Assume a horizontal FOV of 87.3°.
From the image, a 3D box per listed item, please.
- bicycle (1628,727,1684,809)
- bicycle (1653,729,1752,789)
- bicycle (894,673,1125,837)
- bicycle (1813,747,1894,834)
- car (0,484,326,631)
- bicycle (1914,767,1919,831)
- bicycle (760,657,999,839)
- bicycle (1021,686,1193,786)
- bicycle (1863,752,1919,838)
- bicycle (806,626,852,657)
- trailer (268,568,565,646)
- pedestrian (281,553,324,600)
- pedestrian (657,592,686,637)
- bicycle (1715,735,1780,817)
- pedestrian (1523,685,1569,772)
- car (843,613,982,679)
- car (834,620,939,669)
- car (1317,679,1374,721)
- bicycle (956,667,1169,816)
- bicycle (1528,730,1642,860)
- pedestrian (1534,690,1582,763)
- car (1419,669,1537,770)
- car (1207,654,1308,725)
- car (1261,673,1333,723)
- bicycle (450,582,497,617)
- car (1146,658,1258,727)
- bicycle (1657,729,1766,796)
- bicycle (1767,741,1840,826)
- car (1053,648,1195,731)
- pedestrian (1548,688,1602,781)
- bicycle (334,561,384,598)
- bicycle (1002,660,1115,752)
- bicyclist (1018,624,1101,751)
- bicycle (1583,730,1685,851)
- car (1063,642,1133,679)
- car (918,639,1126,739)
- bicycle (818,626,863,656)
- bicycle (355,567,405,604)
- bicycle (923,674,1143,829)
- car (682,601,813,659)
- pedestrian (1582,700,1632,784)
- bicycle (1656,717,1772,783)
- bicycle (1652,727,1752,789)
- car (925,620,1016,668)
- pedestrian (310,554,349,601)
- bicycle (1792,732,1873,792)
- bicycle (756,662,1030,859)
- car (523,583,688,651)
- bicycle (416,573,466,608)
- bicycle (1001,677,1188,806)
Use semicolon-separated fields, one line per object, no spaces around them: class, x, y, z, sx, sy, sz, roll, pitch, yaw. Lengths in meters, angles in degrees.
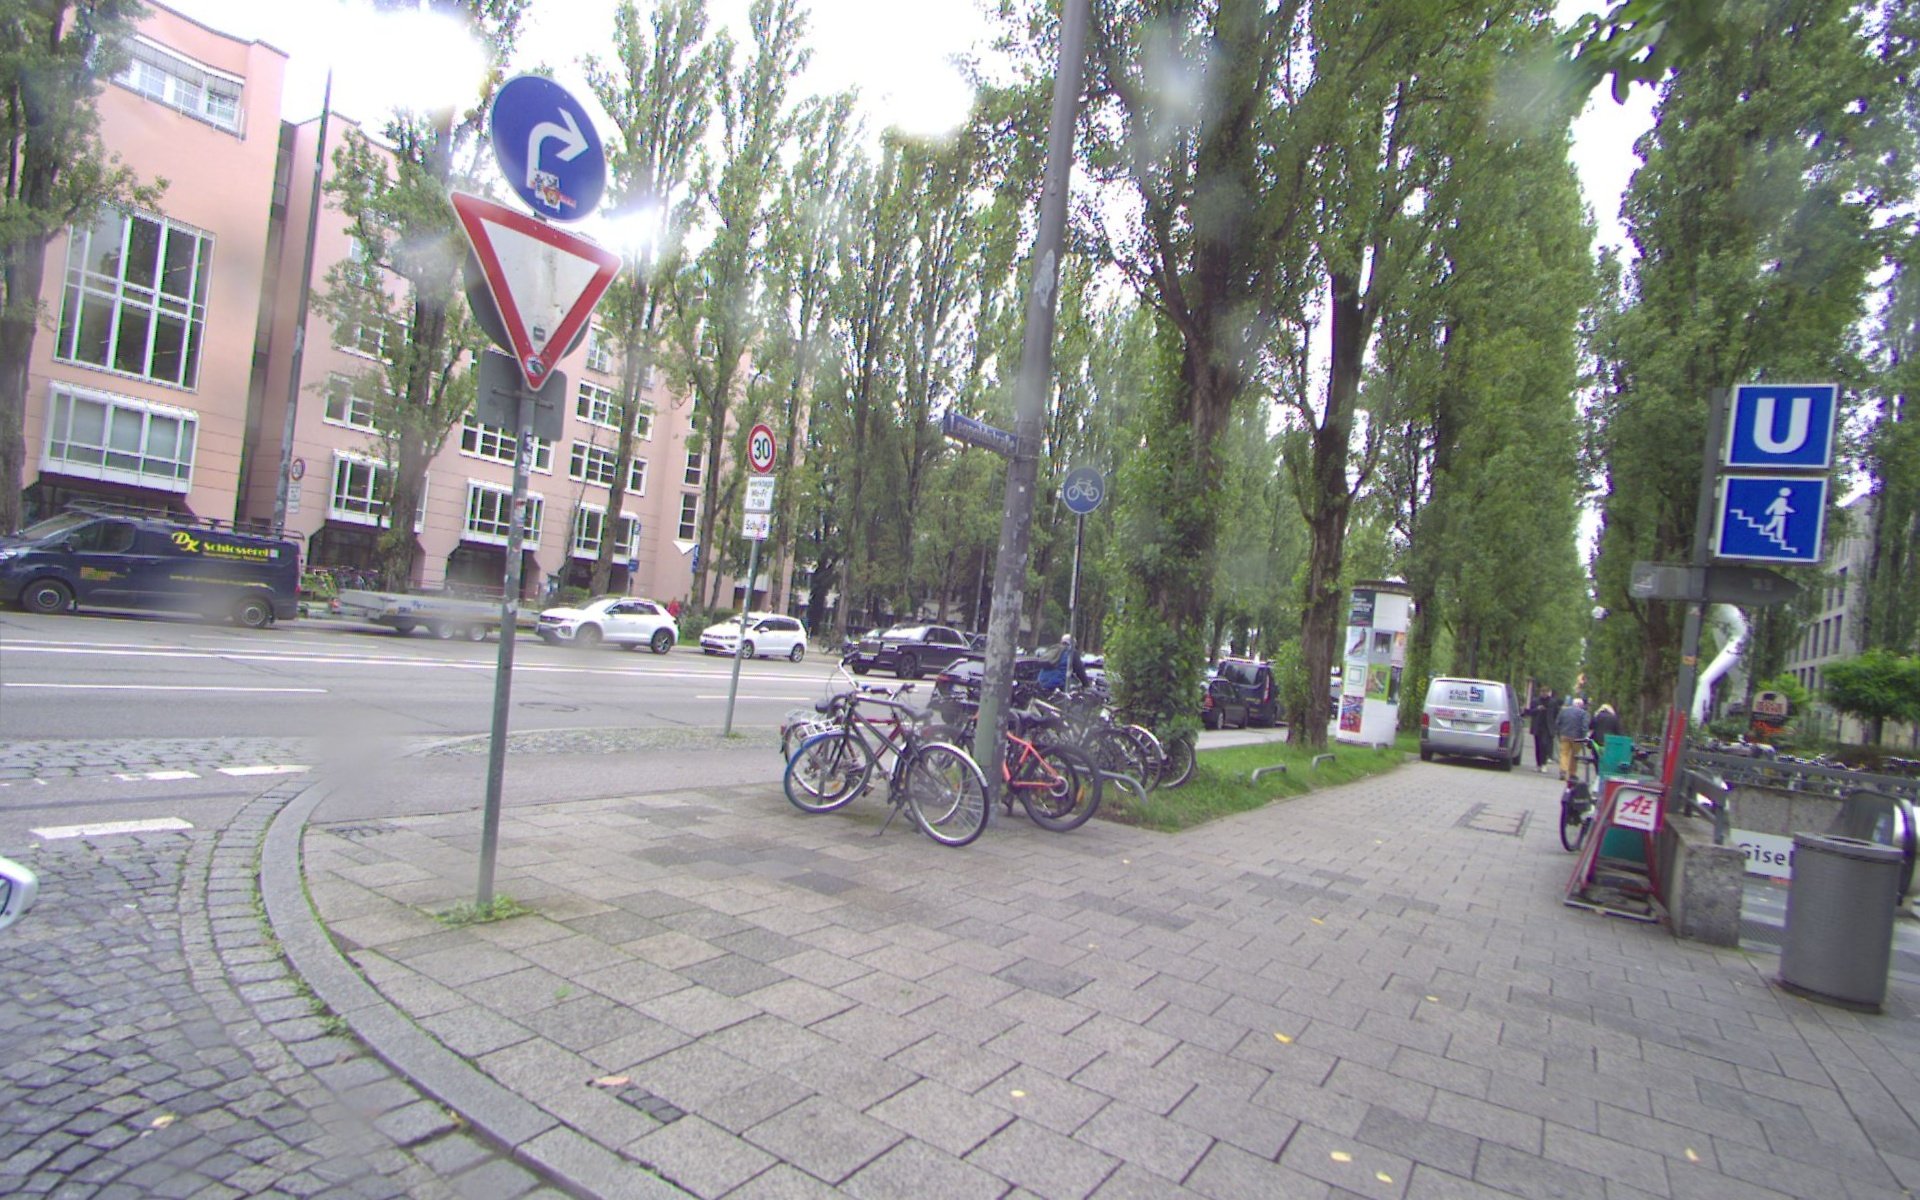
bicycle;11.483;2.734;16.644;0.578;1.173;1.981;6;-2;32
bicycle;18.497;3.952;25.112;1.839;1.173;0.586;6;-1;34
bicycle;0.378;1.237;8.365;1.847;1.063;0.475;4;-2;34
bicycle;14.263;3.006;16.105;0.578;1.173;1.866;6;-2;32
car;-16.131;-0.753;20.012;1.990;2.223;5.488;6;-2;32
bicycle;15.324;3.079;15.423;0.578;1.173;1.866;6;-2;32
bicycle;-0.663;1.092;7.797;1.846;1.063;0.475;6;0;34
bicycle;1.594;1.475;11.104;1.806;0.827;0.470;5;-2;37
bicycle;14.801;3.037;15.765;0.578;1.173;1.866;6;-2;32
bicycle;-5.900;1.866;45.311;1.957;1.138;0.674;6;-1;33
trailer;-13.190;0.242;24.935;2.366;1.213;6.027;6;-2;33
pedestrian;-20.689;-0.732;31.668;0.718;1.385;0.710;6;-1;3
pedestrian;-11.883;0.611;41.437;0.698;1.734;0.730;6;-1;33
bicycle;13.162;2.911;16.856;0.578;1.173;1.866;6;-2;32
pedestrian;13.331;2.907;22.882;0.689;1.863;0.704;6;-1;35
car;-1.428;1.539;32.665;1.967;1.769;5.056;4;-3;31
car;-2.952;1.853;41.328;1.968;1.560;4.316;6;-2;33
car;17.984;4.642;46.841;1.719;1.610;3.946;8;-1;30
bicycle;0.953;1.307;9.616;1.899;1.118;0.512;5;-1;32
bicycle;6.599;2.005;10.578;0.580;1.173;1.860;6;-2;43
pedestrian;16.824;3.541;28.277;0.905;1.888;1.011;6;-1;37
car;12.383;2.747;23.864;1.785;1.919;5.190;6;-1;33
car;9.929;2.983;33.320;1.884;1.947;5.034;8;-1;30
car;12.928;3.742;38.467;1.719;1.545;3.946;7;-1;30
bicycle;-19.272;-0.025;39.842;1.957;1.138;0.674;6;-1;33
car;6.846;2.603;28.153;1.719;1.545;4.228;7;-1;31
bicycle;16.793;3.621;22.537;1.839;1.173;0.586;6;-1;34
bicycle;13.757;2.955;16.448;0.578;1.173;1.866;6;-2;32
car;3.896;2.097;23.397;1.720;1.545;3.901;7;-1;33
pedestrian;12.940;2.820;21.163;0.739;1.824;0.840;6;-1;37
bicycle;-21.637;-0.746;36.213;1.957;1.138;0.674;6;-1;33
bicycle;1.414;1.503;14.126;0.708;1.160;1.897;2;-5;33
bicyclist;1.384;1.212;14.005;0.713;1.638;0.755;6;-1;33
bicycle;8.033;2.228;12.065;0.577;1.173;1.869;6;-2;23
car;7.425;3.256;53.763;1.967;1.662;4.542;5;-2;32
car;1.306;1.717;18.979;1.729;1.444;4.437;7;-1;35
bicycle;-5.500;1.870;46.097;1.957;1.138;0.674;6;-1;33
bicycle;-21.264;-0.525;36.888;1.957;1.138;0.674;6;-1;33
bicycle;0.607;1.277;8.812;1.847;1.063;0.475;4;-2;34
car;-7.249;1.075;34.705;1.966;1.560;4.320;6;-2;29
pedestrian;13.482;2.940;20.951;0.688;1.625;0.831;6;-1;37
bicycle;17.239;3.422;23.062;2.000;1.173;0.586;6;-1;34
bicycle;18.126;3.844;24.624;1.839;1.174;0.586;6;-1;34
car;0.560;2.083;47.220;1.967;1.818;4.754;6;-2;31
pedestrian;-20.232;-0.717;32.287;0.698;1.385;0.730;6;-1;33
bicycle;19.071;3.562;22.035;0.577;1.170;1.876;6;-7;17
bicycle;-0.501;1.078;7.096;1.843;1.063;0.475;5;-1;27
car;-10.177;0.549;29.182;1.778;1.560;4.224;4;-2;34
bicycle;-20.215;-0.371;39.170;2.072;1.138;0.674;6;-1;33
bicycle;1.360;1.426;10.411;1.806;1.050;0.512;5;-2;37
